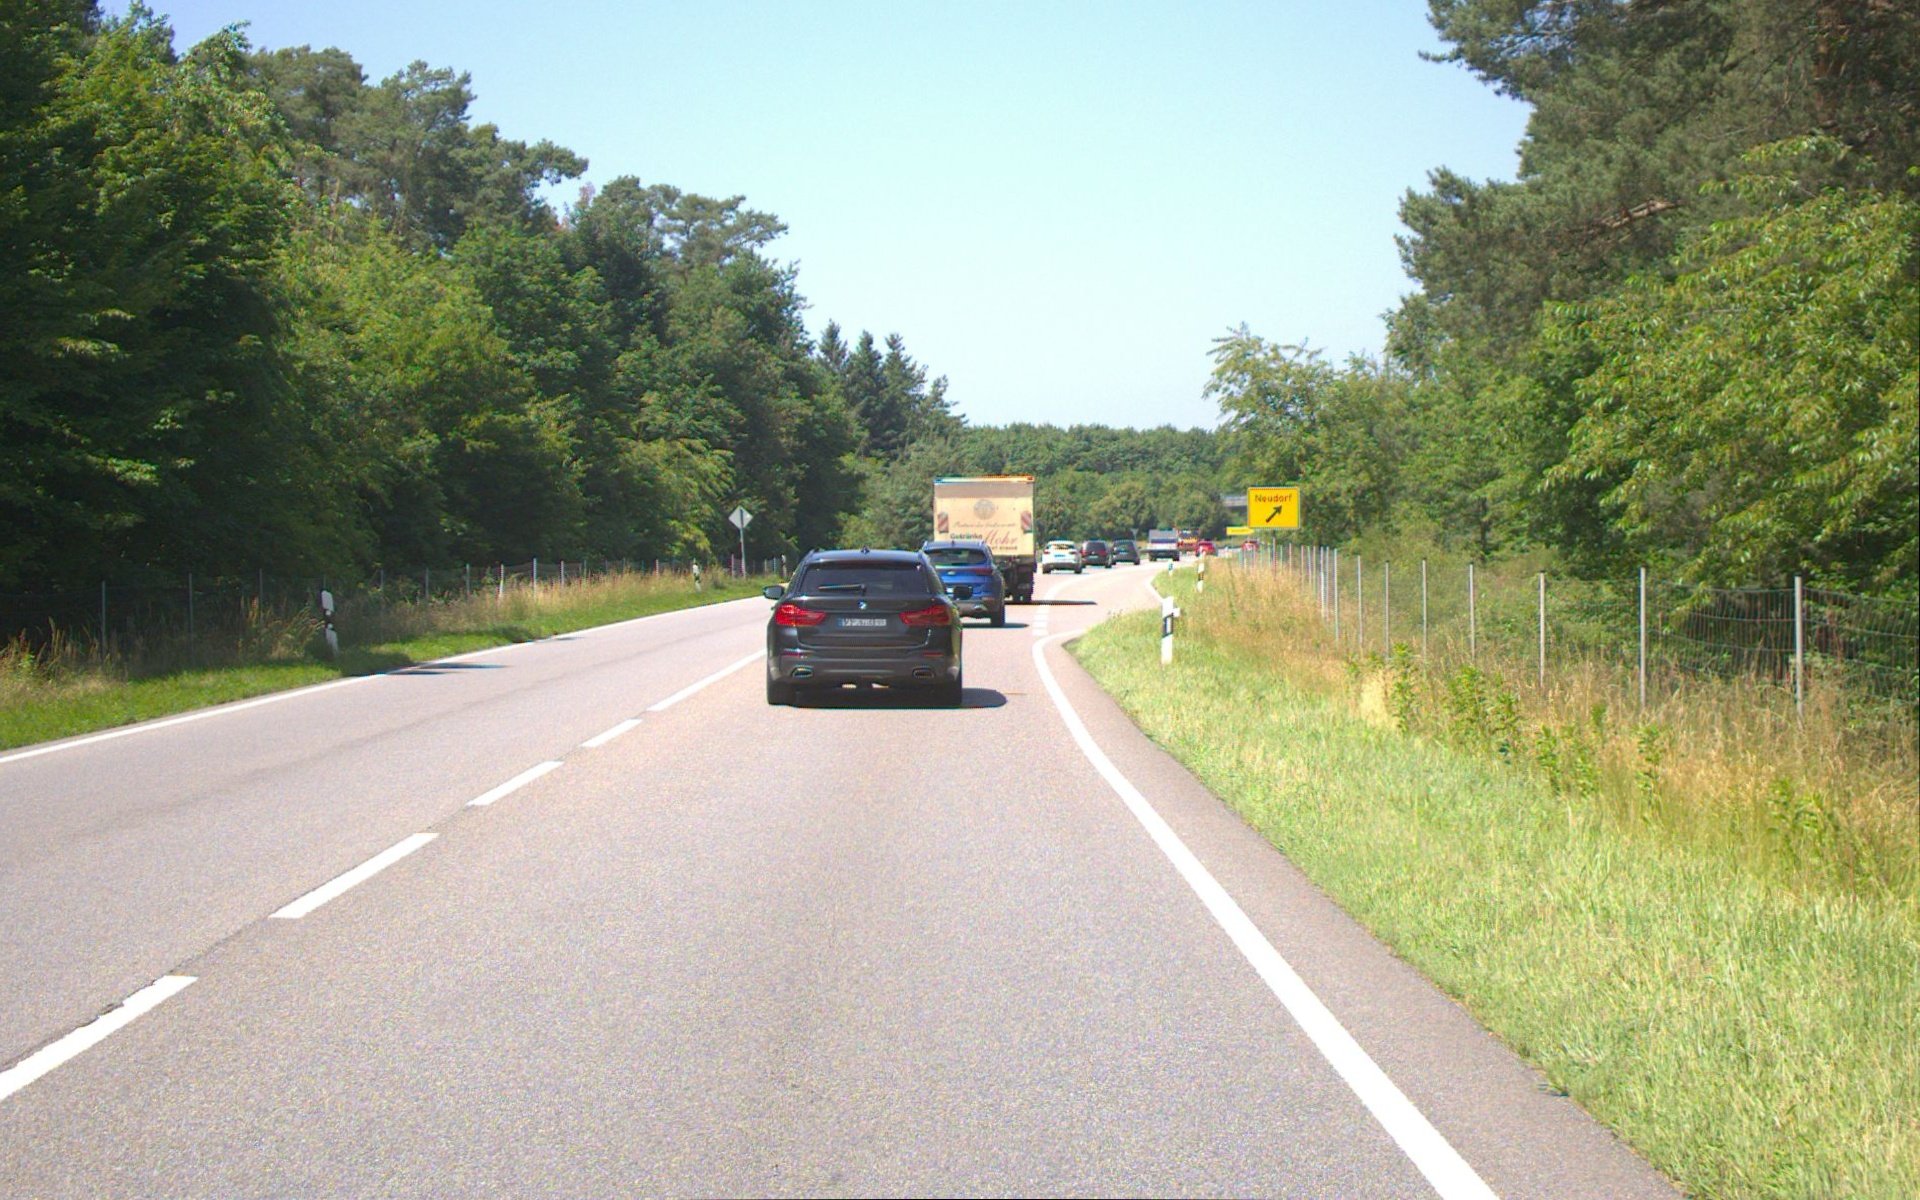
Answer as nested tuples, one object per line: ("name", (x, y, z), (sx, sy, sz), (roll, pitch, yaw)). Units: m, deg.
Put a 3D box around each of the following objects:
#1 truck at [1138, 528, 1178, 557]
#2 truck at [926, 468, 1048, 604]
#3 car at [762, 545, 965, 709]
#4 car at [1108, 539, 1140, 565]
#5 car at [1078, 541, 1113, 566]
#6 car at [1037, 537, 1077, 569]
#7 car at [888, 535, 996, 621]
("truck", (14.907, -4.329, 258.591), (2.563, 2.195, 4.974), (-1, 1, -1))
("truck", (0.757, -1.666, 89.110), (2.966, 3.376, 6.438), (0, 1, 2))
("car", (-1.002, 0.217, 33.540), (1.820, 1.465, 4.001), (-1, 1, -4))
("car", (10.858, -3.164, 227.163), (1.994, 1.631, 4.000), (-1, 1, 4))
("car", (8.087, -2.781, 204.701), (1.994, 1.415, 4.000), (1, 1, 3))
("car", (4.916, -2.395, 174.345), (1.863, 1.600, 4.000), (-1, 1, -1))
("car", (-0.344, -0.440, 65.450), (1.947, 1.536, 4.000), (-1, 1, 0))
